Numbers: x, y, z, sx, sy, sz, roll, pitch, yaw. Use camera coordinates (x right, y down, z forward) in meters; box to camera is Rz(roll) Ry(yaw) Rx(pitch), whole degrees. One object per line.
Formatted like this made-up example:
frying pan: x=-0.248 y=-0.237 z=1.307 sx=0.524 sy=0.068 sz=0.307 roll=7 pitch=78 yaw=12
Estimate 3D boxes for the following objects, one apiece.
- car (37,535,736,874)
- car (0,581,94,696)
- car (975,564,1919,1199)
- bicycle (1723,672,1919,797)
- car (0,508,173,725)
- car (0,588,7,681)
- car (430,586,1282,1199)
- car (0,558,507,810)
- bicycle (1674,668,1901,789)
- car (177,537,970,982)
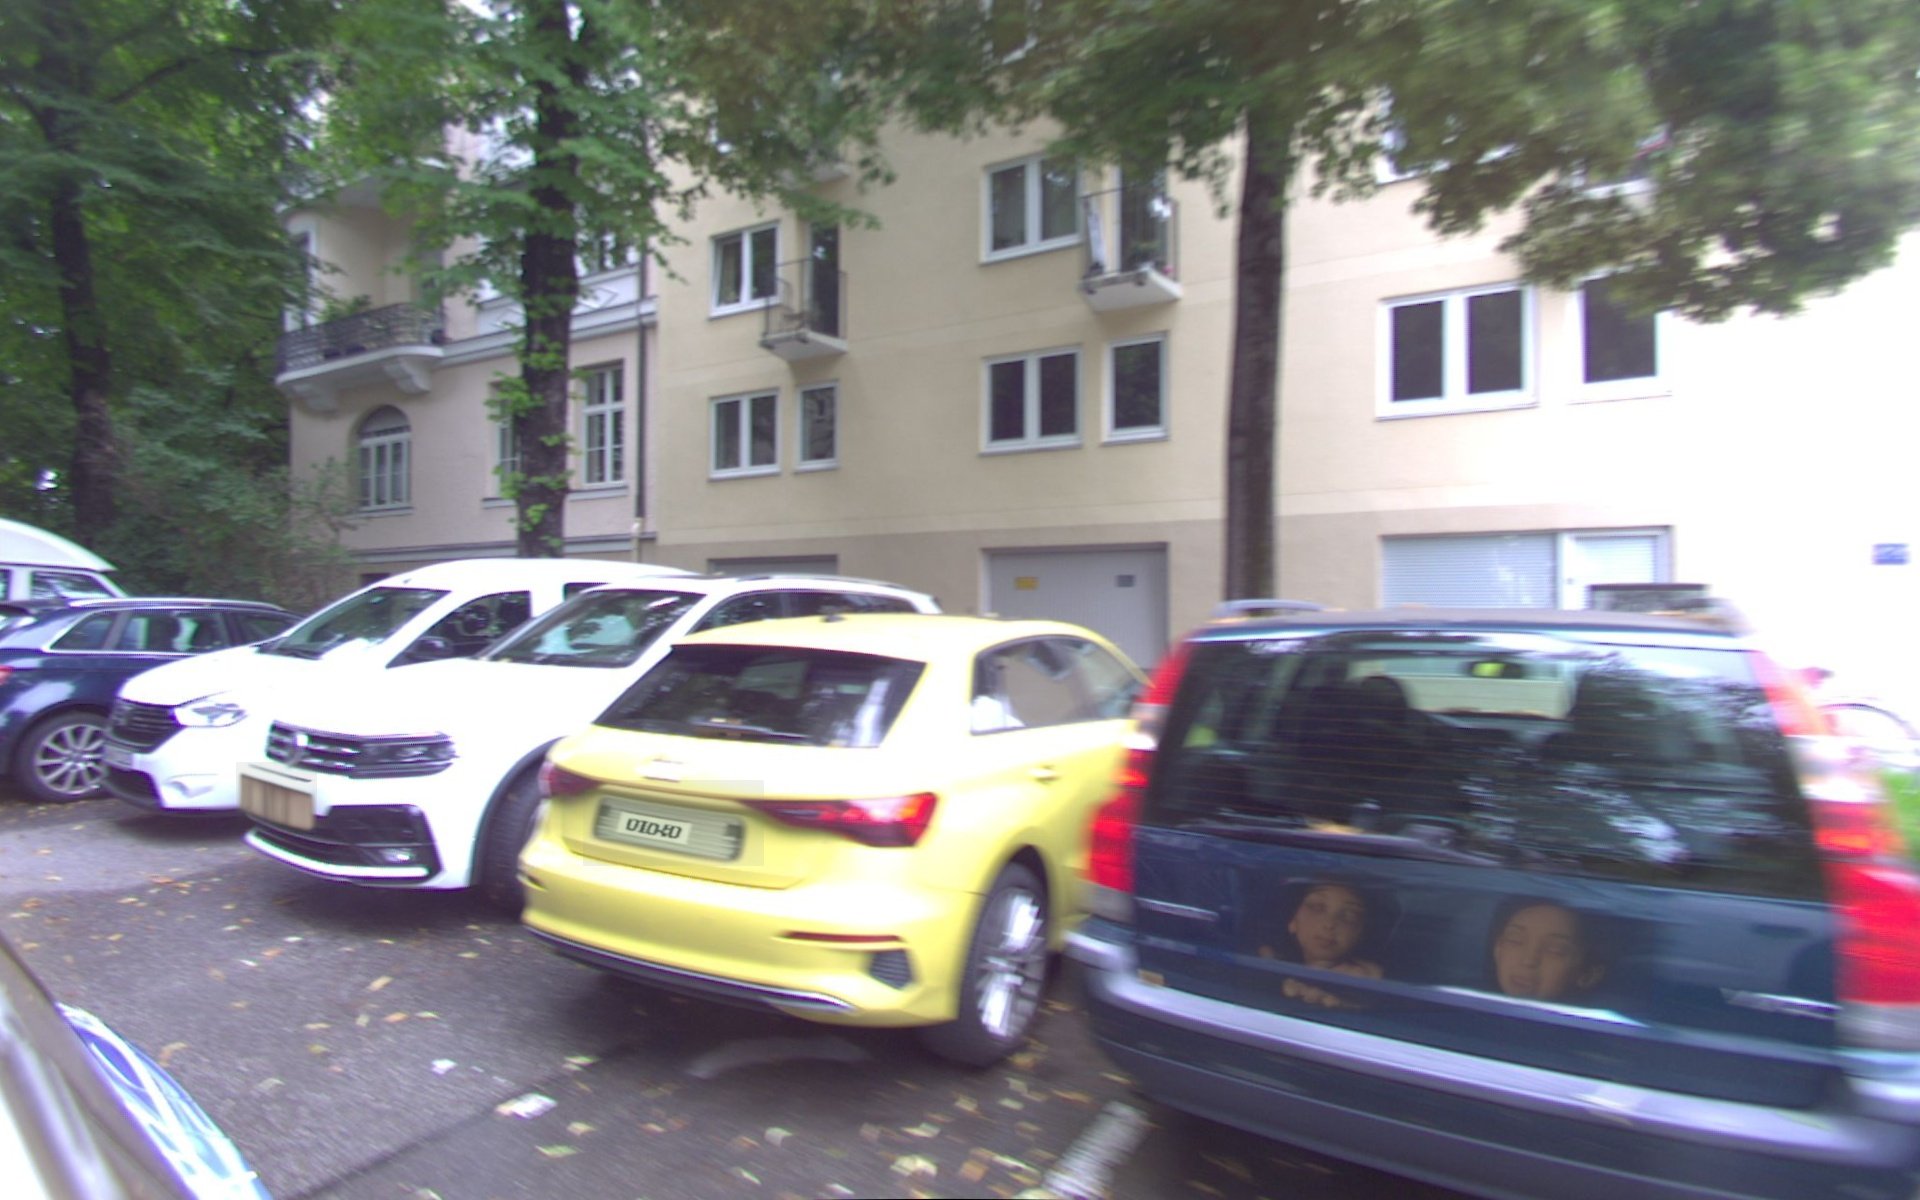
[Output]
car: x=-3.837 y=0.567 z=7.597 sx=1.911 sy=1.764 sz=4.202 roll=0 pitch=-1 yaw=30
car: x=-15.382 y=0.551 z=14.550 sx=4.038 sy=1.615 sz=1.910 roll=0 pitch=-1 yaw=-22
car: x=1.934 y=0.706 z=3.651 sx=2.046 sy=1.478 sz=4.203 roll=0 pitch=-1 yaw=29
bicycle: x=5.585 y=0.840 z=6.429 sx=1.145 sy=0.713 sz=0.279 roll=0 pitch=-1 yaw=31
car: x=-11.434 y=0.182 z=11.271 sx=4.111 sy=2.331 sz=1.909 roll=0 pitch=-1 yaw=-35
car: x=-18.226 y=0.588 z=16.105 sx=4.038 sy=1.615 sz=1.910 roll=0 pitch=-1 yaw=-22
car: x=0.090 y=0.729 z=4.714 sx=1.910 sy=1.478 sz=4.203 roll=0 pitch=-1 yaw=29
car: x=-6.195 y=0.558 z=8.338 sx=1.911 sy=1.611 sz=4.202 roll=0 pitch=-1 yaw=30
bicycle: x=5.526 y=0.840 z=6.817 sx=1.145 sy=0.713 sz=0.279 roll=0 pitch=-1 yaw=31
car: x=-1.770 y=0.609 z=6.038 sx=1.910 sy=1.632 sz=4.203 roll=0 pitch=-1 yaw=29
